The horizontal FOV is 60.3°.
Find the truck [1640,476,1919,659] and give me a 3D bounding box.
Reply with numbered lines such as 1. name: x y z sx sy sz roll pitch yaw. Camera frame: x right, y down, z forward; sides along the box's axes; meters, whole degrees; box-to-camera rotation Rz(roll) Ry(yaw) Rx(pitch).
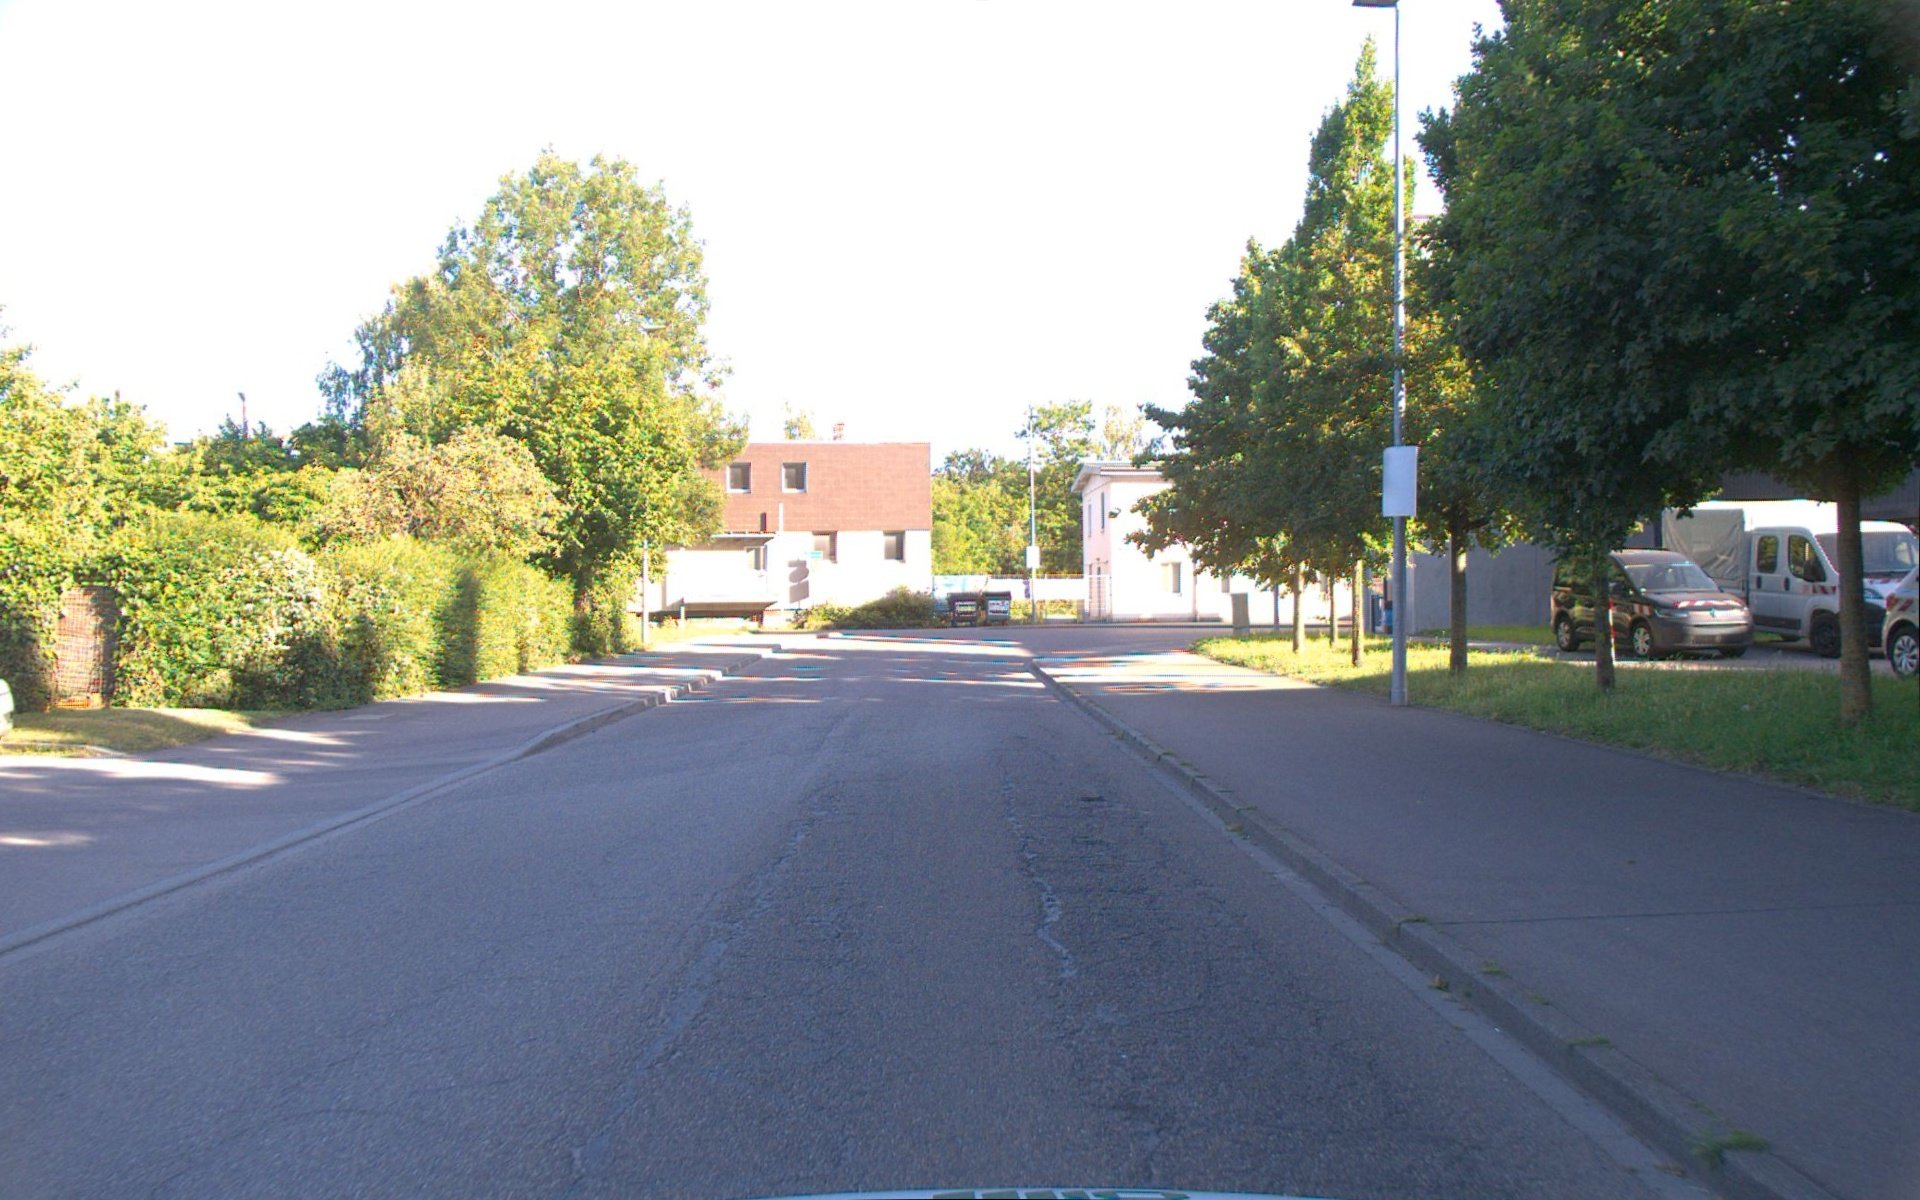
1. truck: 15.046 -0.532 29.780 2.313 2.887 6.743 1 0 -5

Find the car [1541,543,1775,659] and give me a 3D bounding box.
1. car: 12.106 0.031 29.061 1.799 1.846 4.660 1 -1 -6

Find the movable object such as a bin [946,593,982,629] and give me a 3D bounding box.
1. movable object such as a bin: 0.167 0.456 69.114 1.339 1.443 1.064 1 -1 -8

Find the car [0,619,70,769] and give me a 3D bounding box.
1. car: -11.794 0.944 17.744 4.127 1.516 1.875 1 -1 26

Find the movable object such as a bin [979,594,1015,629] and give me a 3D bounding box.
1. movable object such as a bin: 1.531 0.484 69.299 1.339 1.443 1.064 1 -1 -8

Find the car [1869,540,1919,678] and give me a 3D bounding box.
1. car: 11.309 0.104 16.648 1.798 1.492 4.276 1 -1 -3
